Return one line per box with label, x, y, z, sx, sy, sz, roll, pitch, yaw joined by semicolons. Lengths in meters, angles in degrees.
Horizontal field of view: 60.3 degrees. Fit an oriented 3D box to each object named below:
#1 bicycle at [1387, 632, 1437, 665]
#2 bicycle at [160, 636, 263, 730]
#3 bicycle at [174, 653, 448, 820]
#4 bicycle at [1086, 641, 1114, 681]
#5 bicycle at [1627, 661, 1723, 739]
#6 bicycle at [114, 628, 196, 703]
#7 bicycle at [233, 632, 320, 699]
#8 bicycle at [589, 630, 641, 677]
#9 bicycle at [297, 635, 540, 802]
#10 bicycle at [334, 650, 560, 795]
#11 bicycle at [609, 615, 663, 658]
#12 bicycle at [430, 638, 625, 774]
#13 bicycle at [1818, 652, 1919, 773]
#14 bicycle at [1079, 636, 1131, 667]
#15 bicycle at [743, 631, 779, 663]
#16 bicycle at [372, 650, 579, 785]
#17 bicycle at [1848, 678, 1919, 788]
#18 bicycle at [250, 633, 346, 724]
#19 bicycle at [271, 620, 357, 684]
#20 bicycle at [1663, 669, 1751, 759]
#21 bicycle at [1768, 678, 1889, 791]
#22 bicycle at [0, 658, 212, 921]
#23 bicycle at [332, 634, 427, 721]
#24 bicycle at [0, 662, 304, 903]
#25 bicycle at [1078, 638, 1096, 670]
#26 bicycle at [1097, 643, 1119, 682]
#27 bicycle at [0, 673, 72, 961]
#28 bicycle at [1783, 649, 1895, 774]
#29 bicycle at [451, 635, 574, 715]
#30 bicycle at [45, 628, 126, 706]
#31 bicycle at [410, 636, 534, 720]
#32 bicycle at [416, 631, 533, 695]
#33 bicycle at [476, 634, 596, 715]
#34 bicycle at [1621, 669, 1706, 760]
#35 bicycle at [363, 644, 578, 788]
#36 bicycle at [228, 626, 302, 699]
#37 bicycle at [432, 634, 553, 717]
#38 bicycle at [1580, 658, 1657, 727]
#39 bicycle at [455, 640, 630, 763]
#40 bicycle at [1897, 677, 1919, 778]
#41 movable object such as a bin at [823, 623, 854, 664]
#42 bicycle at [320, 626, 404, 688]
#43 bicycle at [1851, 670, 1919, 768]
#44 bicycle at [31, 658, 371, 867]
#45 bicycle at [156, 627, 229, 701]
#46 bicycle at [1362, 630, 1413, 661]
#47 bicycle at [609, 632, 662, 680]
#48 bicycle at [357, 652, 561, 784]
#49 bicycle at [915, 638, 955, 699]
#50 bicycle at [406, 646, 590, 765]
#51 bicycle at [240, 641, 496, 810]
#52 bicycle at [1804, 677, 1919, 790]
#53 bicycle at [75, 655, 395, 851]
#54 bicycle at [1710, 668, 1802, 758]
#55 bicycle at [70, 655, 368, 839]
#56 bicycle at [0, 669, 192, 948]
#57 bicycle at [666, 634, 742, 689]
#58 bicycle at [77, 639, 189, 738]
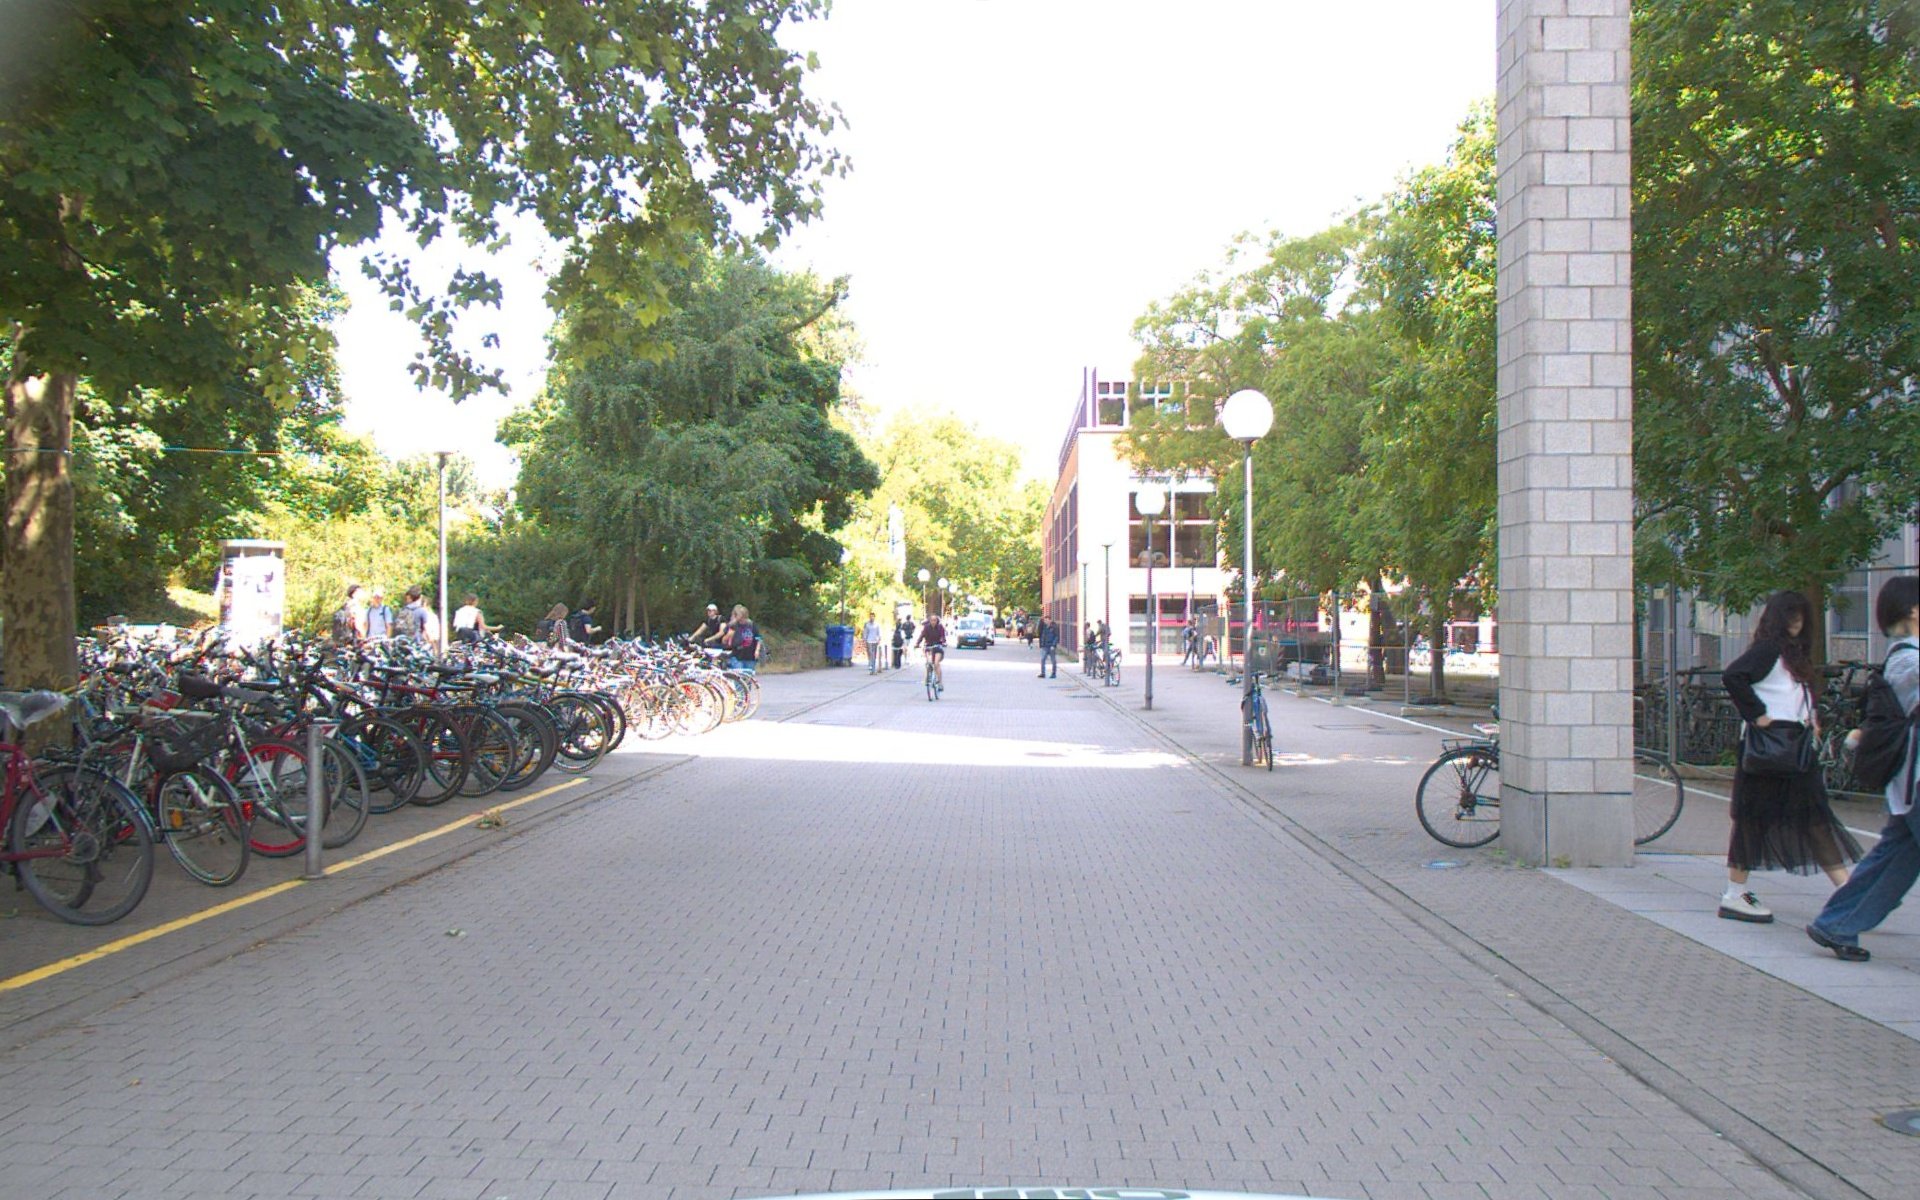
bicycle;16.342;1.744;59.790;1.658;1.129;0.474;1;-1;5
bicycle;-9.311;1.009;20.547;1.668;1.102;0.472;0;-1;40
bicycle;-4.524;0.947;11.629;1.704;1.127;0.495;1;-1;-12
bicycle;4.075;1.768;48.262;0.693;1.112;1.749;0;-1;1
bicycle;9.303;1.288;21.580;0.285;0.921;1.802;0;-1;-7
bicycle;-12.600;1.008;25.862;1.745;1.130;0.471;0;-1;40
bicycle;-12.215;1.158;29.537;1.739;1.130;0.473;0;-1;30
bicycle;-8.150;1.250;39.033;0.469;1.065;1.675;2;-1;-39
bicycle;-4.187;0.911;12.876;1.701;1.257;0.496;1;-1;-6
bicycle;-4.112;0.979;13.353;1.663;1.127;0.496;1;-1;-10
bicycle;-8.383;0.957;42.831;0.463;1.065;1.699;2;-1;23
bicycle;-3.982;0.976;15.307;1.662;1.219;0.536;1;-1;-7
bicycle;9.075;1.087;16.443;0.285;1.113;1.447;0;-1;-2
bicycle;5.358;1.902;61.324;1.868;1.102;0.587;0;-1;34
bicycle;-5.934;1.402;49.473;0.412;0.926;1.741;0;-2;16
bicycle;-4.175;1.009;14.337;1.663;1.127;0.473;1;-1;-11
bicycle;8.553;1.195;14.901;0.285;0.921;1.447;0;-1;-2
bicycle;-8.511;0.988;21.242;1.670;1.102;0.471;0;-1;43
bicycle;-11.855;0.948;30.350;1.739;1.130;0.473;0;-1;30
bicycle;8.372;1.263;18.573;0.285;0.921;1.447;0;-1;-2
bicycle;7.883;1.202;15.056;0.285;0.921;1.447;0;-1;-2
bicycle;-4.467;0.876;7.977;1.590;1.164;0.497;1;-1;15
bicycle;-7.808;1.025;22.228;1.670;1.102;0.471;0;-1;43
bicycle;-4.317;0.908;8.627;1.699;1.127;0.575;0;-1;20
bicycle;4.099;1.739;53.516;0.441;0.979;1.740;-2;-1;1
bicycle;3.777;1.588;42.207;0.387;0.952;1.732;-2;-1;1
bicycle;-4.557;0.862;6.831;1.590;1.127;0.563;1;-1;15
bicycle;8.691;1.075;16.397;0.285;1.148;1.447;0;-1;-2
bicycle;-6.401;1.063;23.652;1.682;1.102;0.474;1;-1;16
bicycle;-13.409;1.008;25.341;1.745;1.130;0.471;0;-1;40
bicycle;-6.676;1.055;22.621;1.659;1.102;0.474;0;-1;21
bicycle;-8.231;1.070;28.077;1.873;1.065;0.539;1;-2;-18
bicycle;-6.191;1.074;24.154;1.658;1.130;0.474;1;-1;14
bicycle;7.846;1.260;18.487;0.285;0.921;1.447;0;-1;-2
bicycle;-4.085;0.968;13.878;1.663;1.165;0.473;1;-1;-11
bicycle;-11.317;1.000;26.901;0.470;1.130;1.748;2;-1;-45
bicycle;-6.545;1.046;23.133;1.659;1.102;0.474;0;-1;21
bicycle;9.423;1.308;23.715;0.285;0.921;1.616;0;-1;-7
bicycle;-4.192;1.016;16.693;1.663;1.208;0.473;1;-1;-10
bicycle;9.004;1.181;14.879;0.285;0.921;1.447;0;-1;-2
movable object such as a bin;-4.182;1.501;56.880;0.694;1.360;1.240;3;-1;11
bicycle;-11.300;1.071;31.245;1.739;1.130;0.473;0;-1;30
bicycle;9.417;1.174;16.445;0.285;0.903;1.447;0;-1;-2
bicycle;-4.333;0.917;9.501;1.699;1.127;0.497;1;-1;1
bicycle;-12.176;1.000;26.217;0.470;1.130;1.748;2;-1;-45
bicycle;16.134;1.711;62.437;1.771;1.129;0.524;1;-1;5
bicycle;-7.749;1.321;39.510;0.469;1.065;1.675;3;-1;-39
bicycle;-4.433;1.042;14.713;1.663;1.127;0.473;1;-1;-10
bicycle;-0.511;1.364;33.061;0.756;1.170;2.107;-1;-2;-1
bicycle;-4.486;1.025;16.145;1.663;1.127;0.564;1;-1;-10
bicycle;-4.390;0.923;12.318;1.699;1.199;0.497;1;-1;0
bicycle;8.213;1.189;15.043;0.285;0.921;1.447;0;-1;-2
bicycle;-4.407;0.924;10.122;1.700;1.146;0.496;1;-1;-4
bicycle;8.961;1.257;18.655;0.285;0.921;1.447;0;-1;-2
bicycle;-4.789;0.931;10.779;1.711;1.127;0.493;1;-1;-23
bicycle;-4.277;0.884;7.362;1.590;1.127;0.497;1;-1;15
bicycle;-5.483;1.306;35.456;0.464;1.130;1.838;0;-1;34
bicycle;-9.847;1.031;19.669;1.666;1.102;0.472;0;-1;37
